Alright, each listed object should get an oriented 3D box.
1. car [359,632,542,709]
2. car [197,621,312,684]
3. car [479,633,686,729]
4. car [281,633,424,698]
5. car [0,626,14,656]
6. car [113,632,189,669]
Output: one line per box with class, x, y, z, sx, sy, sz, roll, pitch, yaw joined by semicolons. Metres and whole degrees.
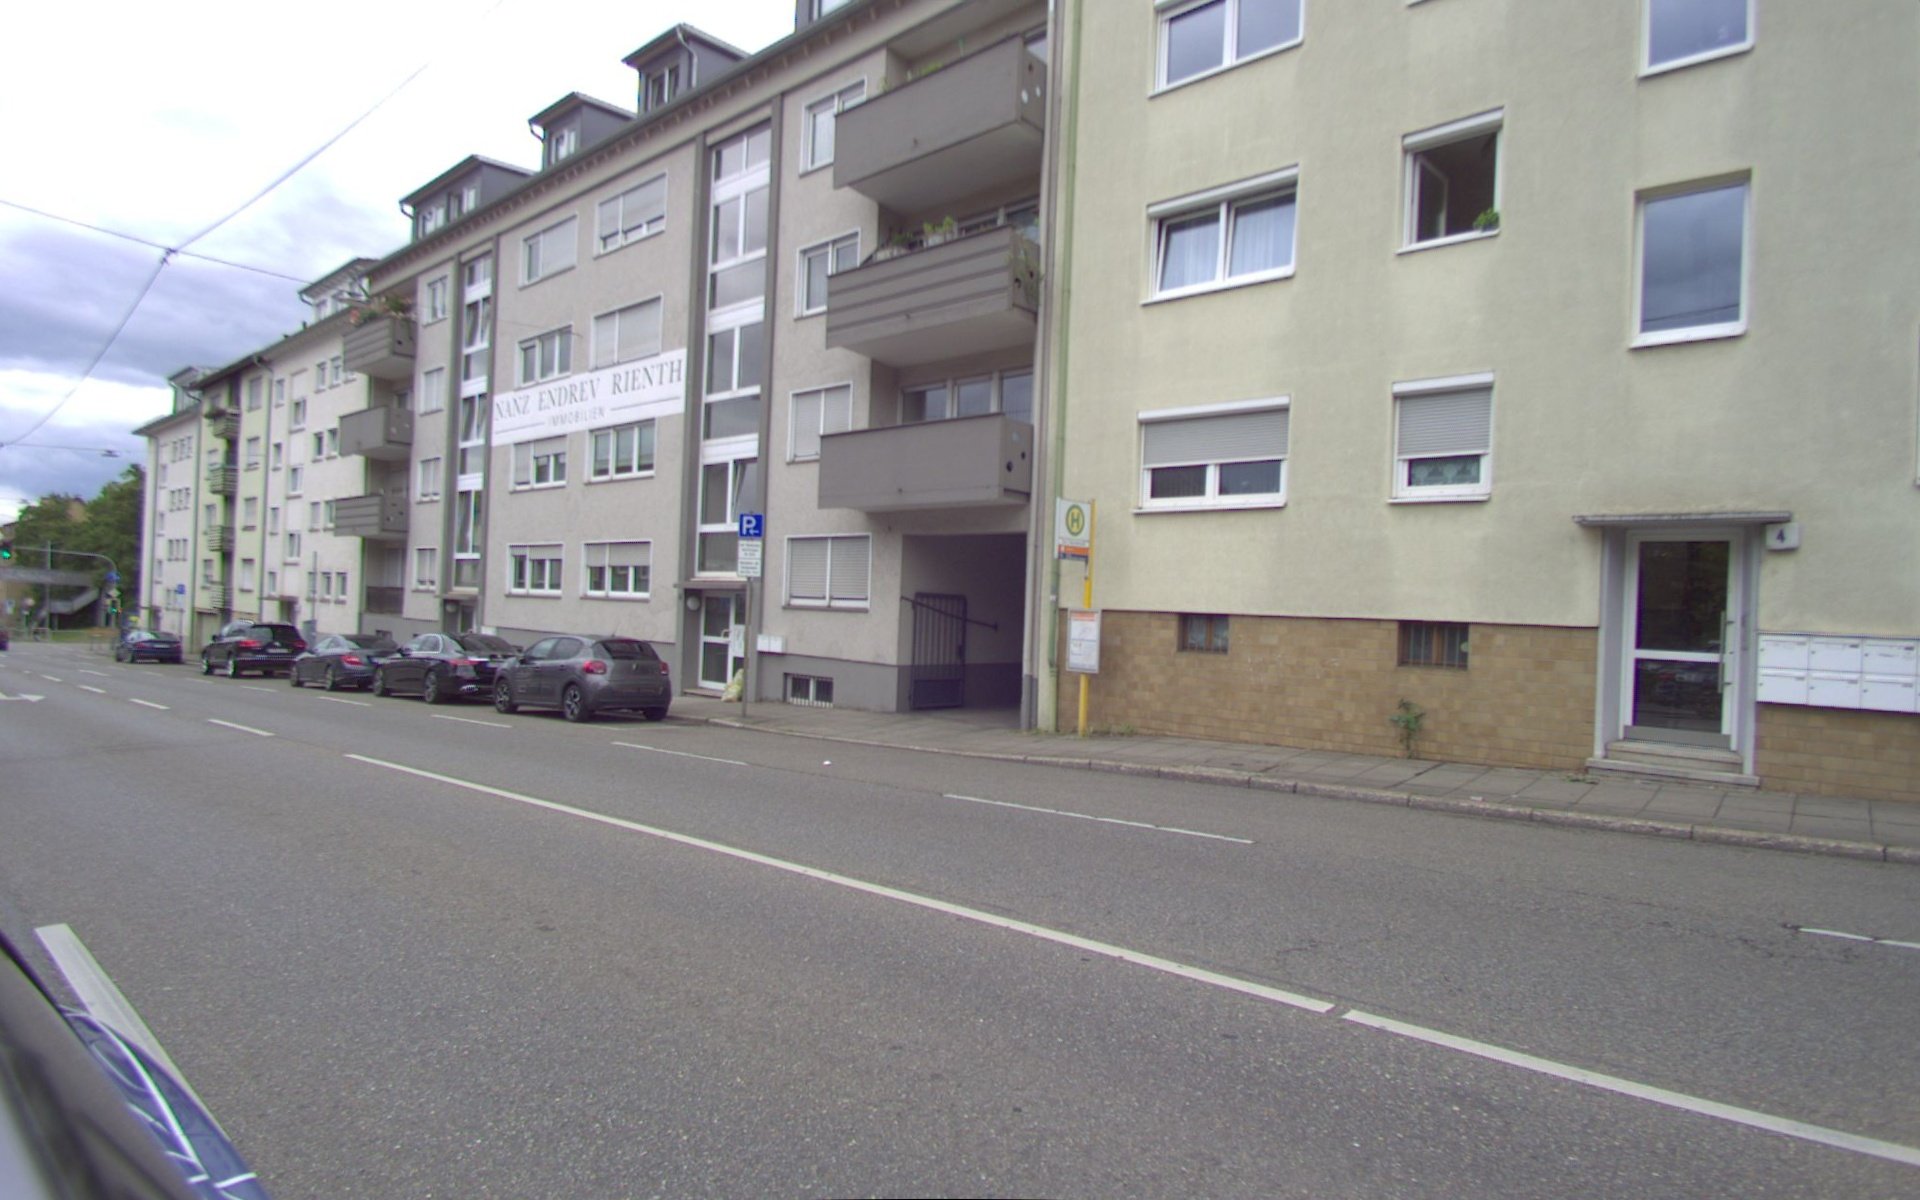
car;-10.899;1.463;21.501;4.716;1.416;1.749;-1;-5;41
car;-21.895;1.607;31.364;4.306;1.767;1.851;-1;-5;41
car;-6.701;1.378;17.823;3.800;1.447;1.749;-1;-5;41
car;-15.213;1.608;25.243;4.306;1.416;1.749;-1;-5;41
car;-53.579;2.205;55.676;4.308;1.590;1.849;-1;-5;43
car;-34.175;2.126;42.735;4.308;1.391;1.849;-1;-5;43
